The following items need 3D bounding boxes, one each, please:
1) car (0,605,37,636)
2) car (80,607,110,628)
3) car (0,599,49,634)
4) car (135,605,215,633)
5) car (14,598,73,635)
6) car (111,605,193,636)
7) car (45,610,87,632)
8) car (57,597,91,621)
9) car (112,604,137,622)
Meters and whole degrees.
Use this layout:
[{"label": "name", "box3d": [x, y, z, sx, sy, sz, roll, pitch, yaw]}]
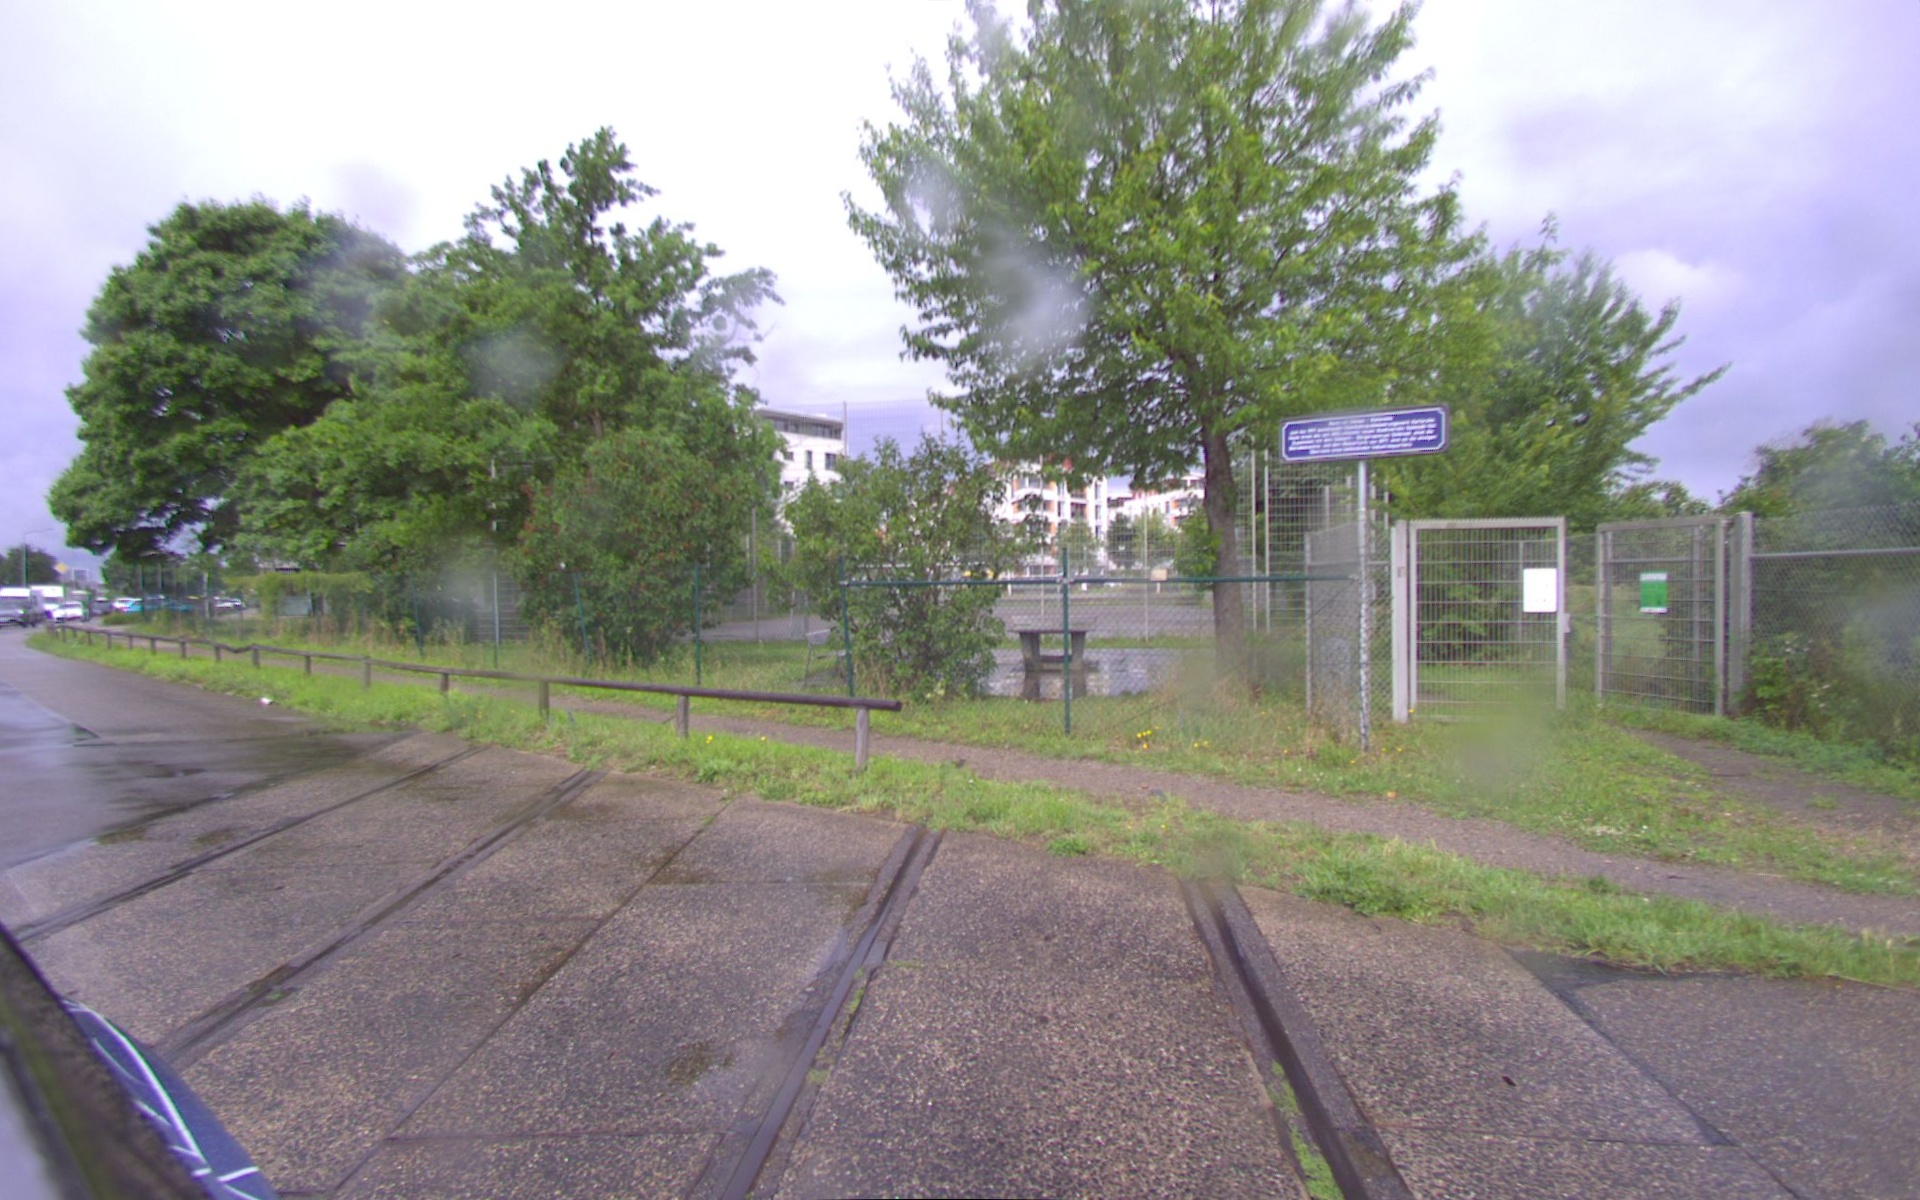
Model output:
[{"label": "car", "box3d": [-55.301, 1.171, 58.701, 1.979, 1.718, 4.340, -2, 1, -35]}, {"label": "car", "box3d": [-93.902, 1.899, 109.927, 1.967, 2.258, 4.575, -1, 0, -34]}, {"label": "car", "box3d": [-71.165, 1.228, 76.745, 2.040, 2.548, 6.675, 1, -1, -33]}, {"label": "car", "box3d": [-52.701, 1.276, 68.041, 4.118, 1.561, 1.864, -4, 2, -35]}, {"label": "car", "box3d": [-76.748, 1.391, 84.889, 2.437, 2.978, 6.906, 0, -1, -32]}, {"label": "car", "box3d": [-50.512, 1.260, 63.333, 3.759, 1.645, 1.760, -4, 2, -32]}, {"label": "car", "box3d": [-67.654, 1.559, 76.648, 1.812, 1.530, 4.369, -1, 0, -34]}, {"label": "car", "box3d": [-87.237, 0.888, 99.659, 1.967, 2.258, 4.575, -1, 0, -34]}, {"label": "car", "box3d": [-105.881, 1.666, 128.245, 1.967, 2.258, 4.575, -1, 0, -34]}]
